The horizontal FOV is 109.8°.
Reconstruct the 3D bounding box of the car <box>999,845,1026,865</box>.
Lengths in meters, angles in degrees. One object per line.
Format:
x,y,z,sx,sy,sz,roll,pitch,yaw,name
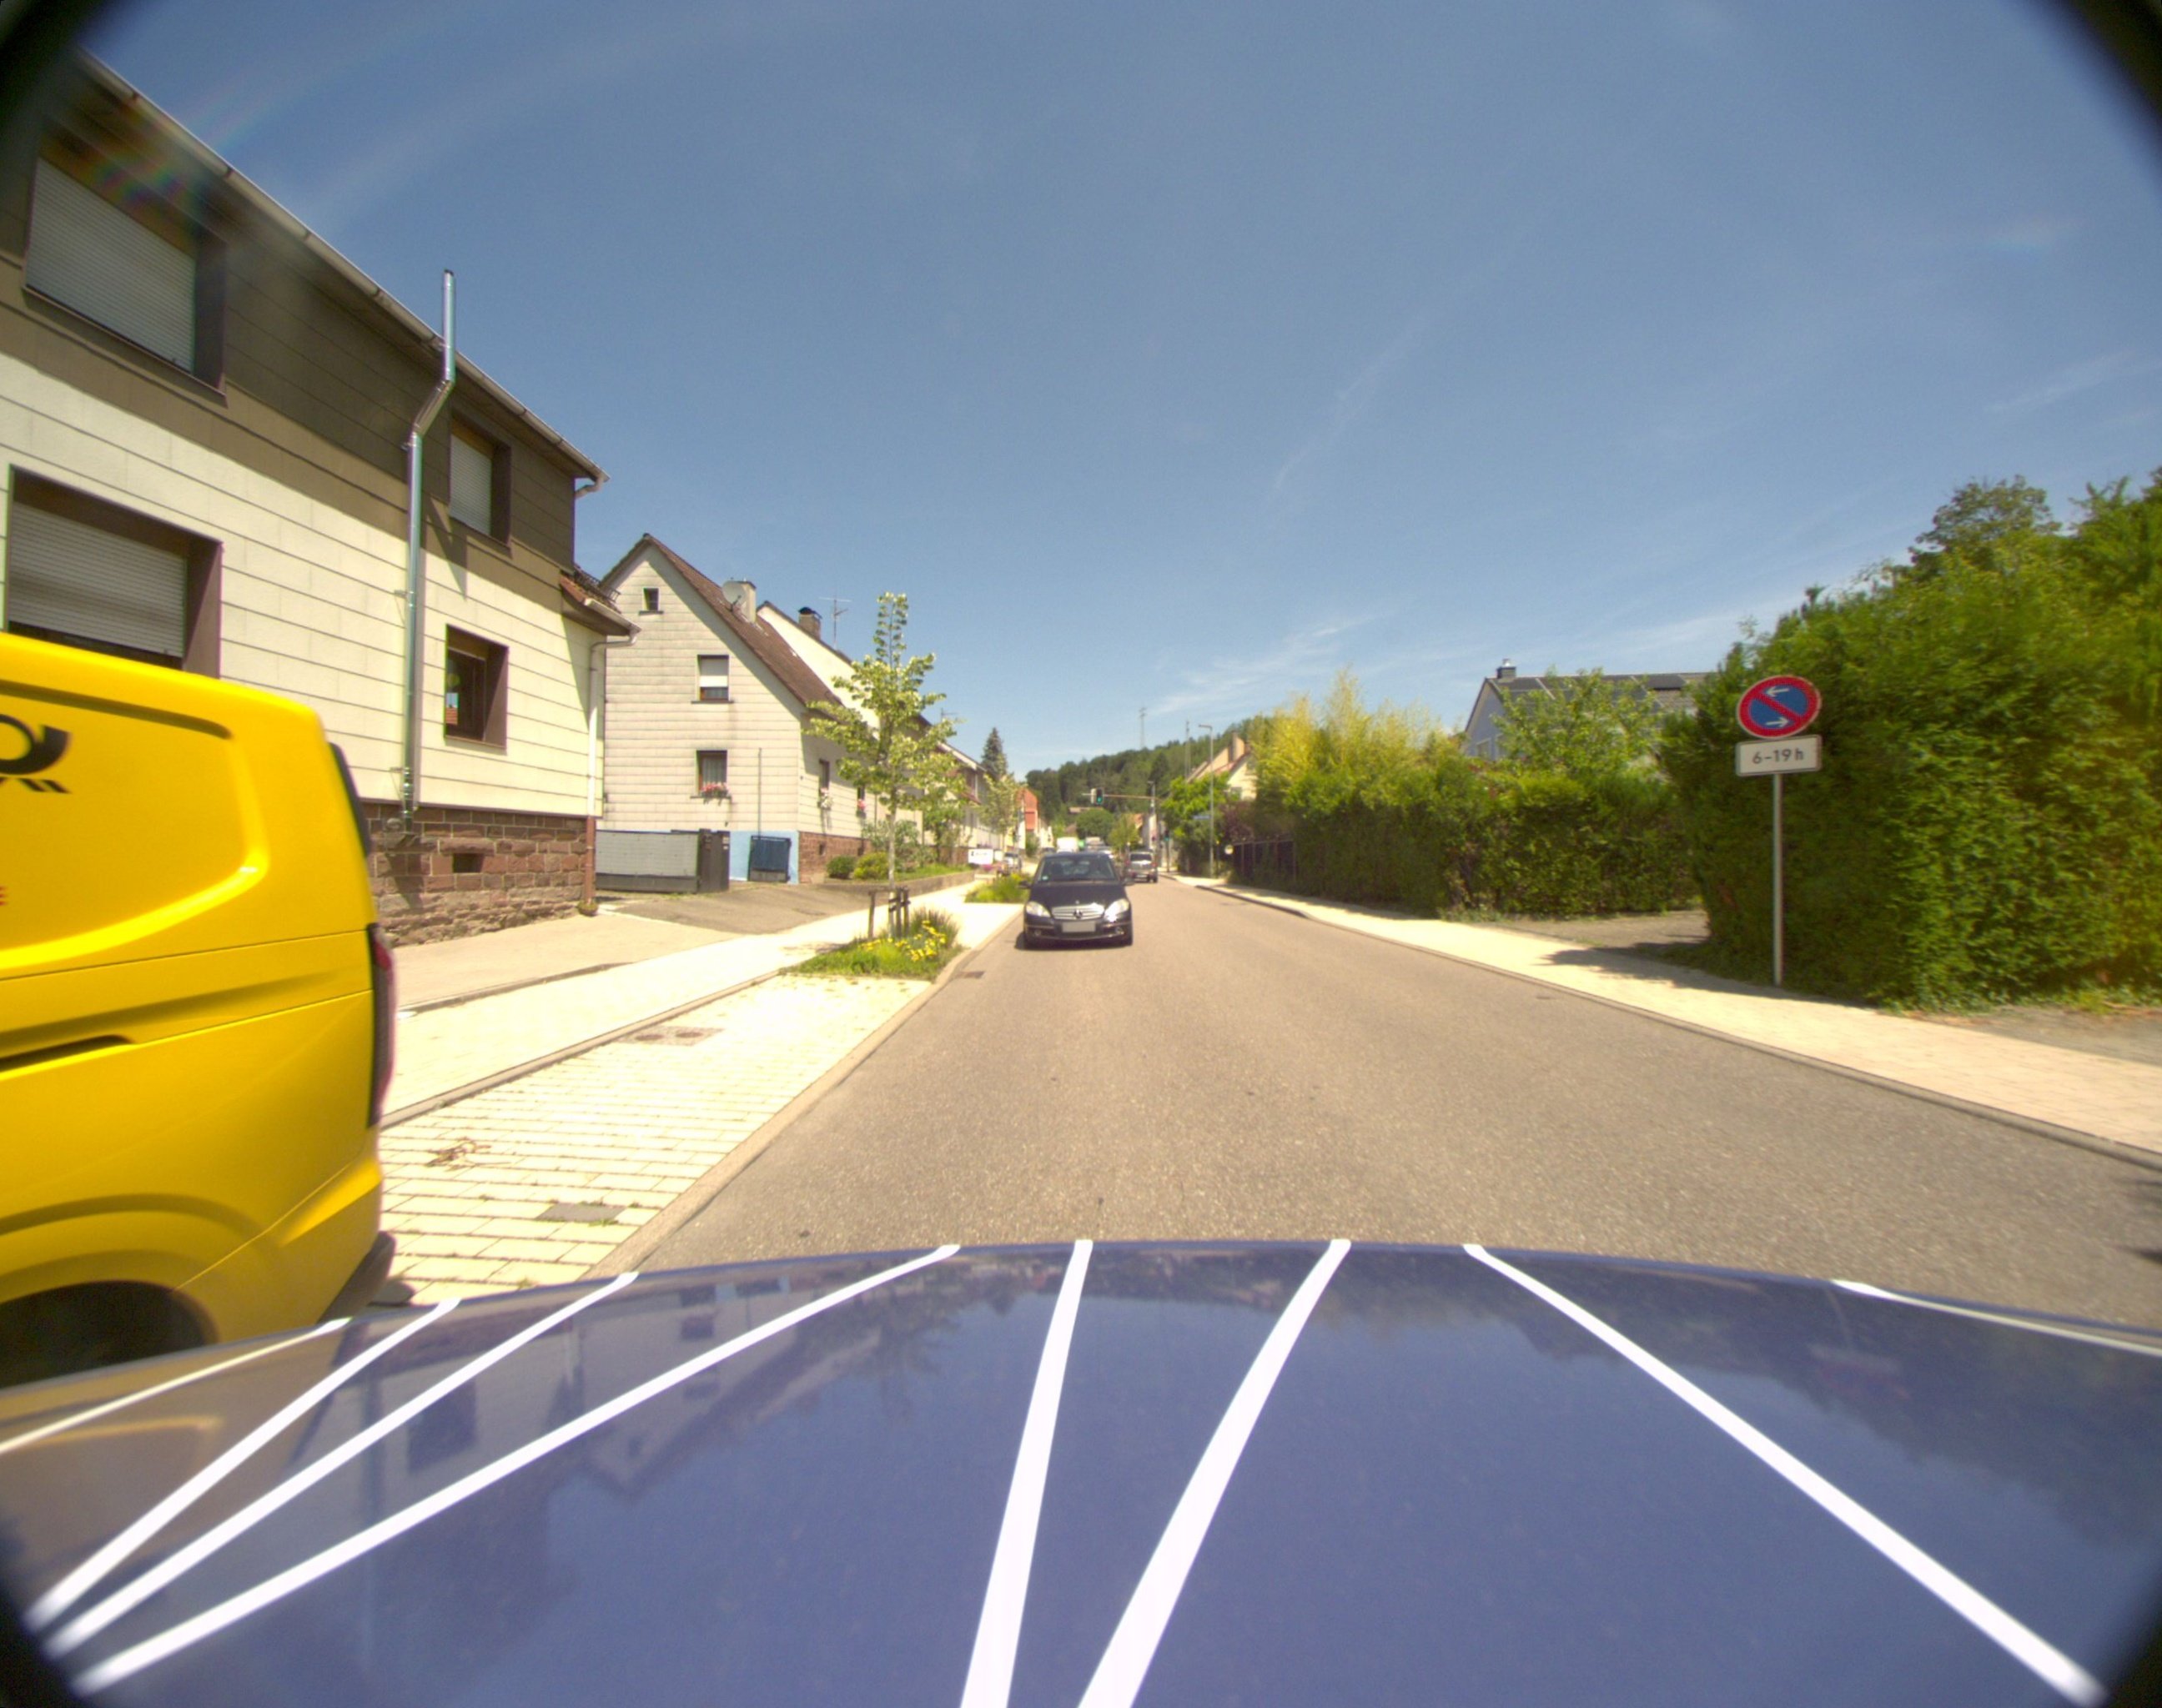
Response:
-6.293,0.065,70.520,1.867,1.612,4.507,3,1,2,car

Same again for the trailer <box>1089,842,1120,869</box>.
1.869,0.040,62.018,2.161,1.975,6.199,-2,1,-1,trailer

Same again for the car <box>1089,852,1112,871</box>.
1.674,0.640,67.049,1.771,1.394,4.245,-2,2,-1,car

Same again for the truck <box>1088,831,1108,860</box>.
2.331,-1.135,100.148,2.548,3.716,8.622,0,1,2,truck

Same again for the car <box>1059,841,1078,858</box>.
-1.384,-0.492,83.234,1.999,1.716,3.999,-2,1,-1,car

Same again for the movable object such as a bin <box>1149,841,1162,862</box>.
7.341,-0.296,75.055,1.062,2.002,1.323,-2,2,0,movable object such as a bin

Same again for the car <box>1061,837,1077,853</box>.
-1.632,-1.264,104.572,1.986,2.170,3.999,-2,1,2,car

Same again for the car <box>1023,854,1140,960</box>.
0.076,0.824,14.218,1.767,1.572,4.931,-2,0,2,car

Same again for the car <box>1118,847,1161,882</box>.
3.021,0.527,39.926,1.872,1.643,3.948,-2,0,0,car
